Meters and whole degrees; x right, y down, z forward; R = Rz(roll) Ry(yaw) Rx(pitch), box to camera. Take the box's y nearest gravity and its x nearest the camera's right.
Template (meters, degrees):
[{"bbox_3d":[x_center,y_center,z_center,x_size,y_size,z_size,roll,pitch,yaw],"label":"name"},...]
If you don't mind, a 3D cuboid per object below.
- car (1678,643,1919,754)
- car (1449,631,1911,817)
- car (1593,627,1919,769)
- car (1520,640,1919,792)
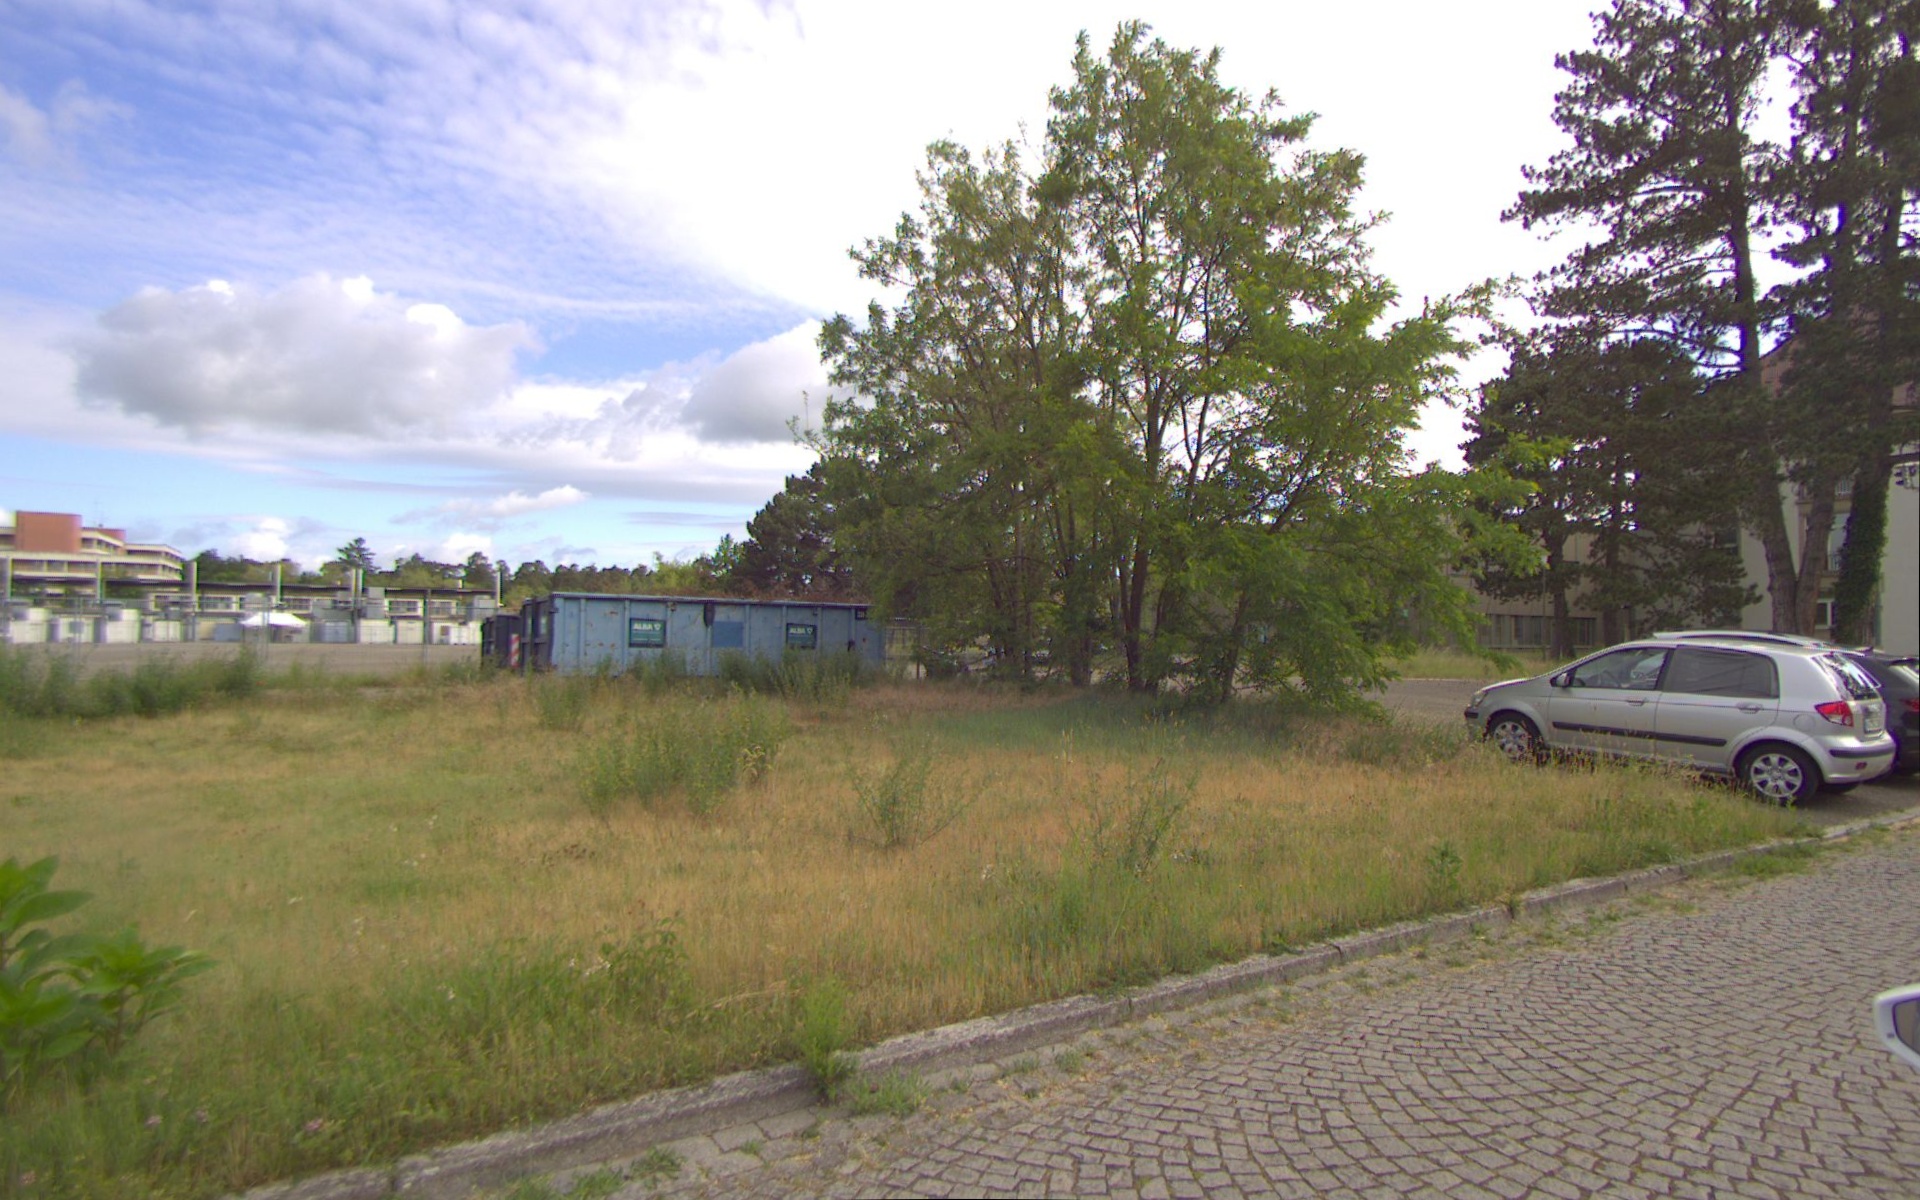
[{"bbox_3d":[13.829,1.449,15.380,1.795,1.574,4.267,2,-3,-37],"label":"car"},{"bbox_3d":[7.512,1.156,10.817,1.656,1.500,3.697,2,0,-34],"label":"car"},{"bbox_3d":[11.683,1.305,14.245,1.637,1.755,4.269,2,-3,-36],"label":"car"},{"bbox_3d":[9.562,1.297,12.388,1.795,1.574,4.267,2,-3,-37],"label":"car"}]
